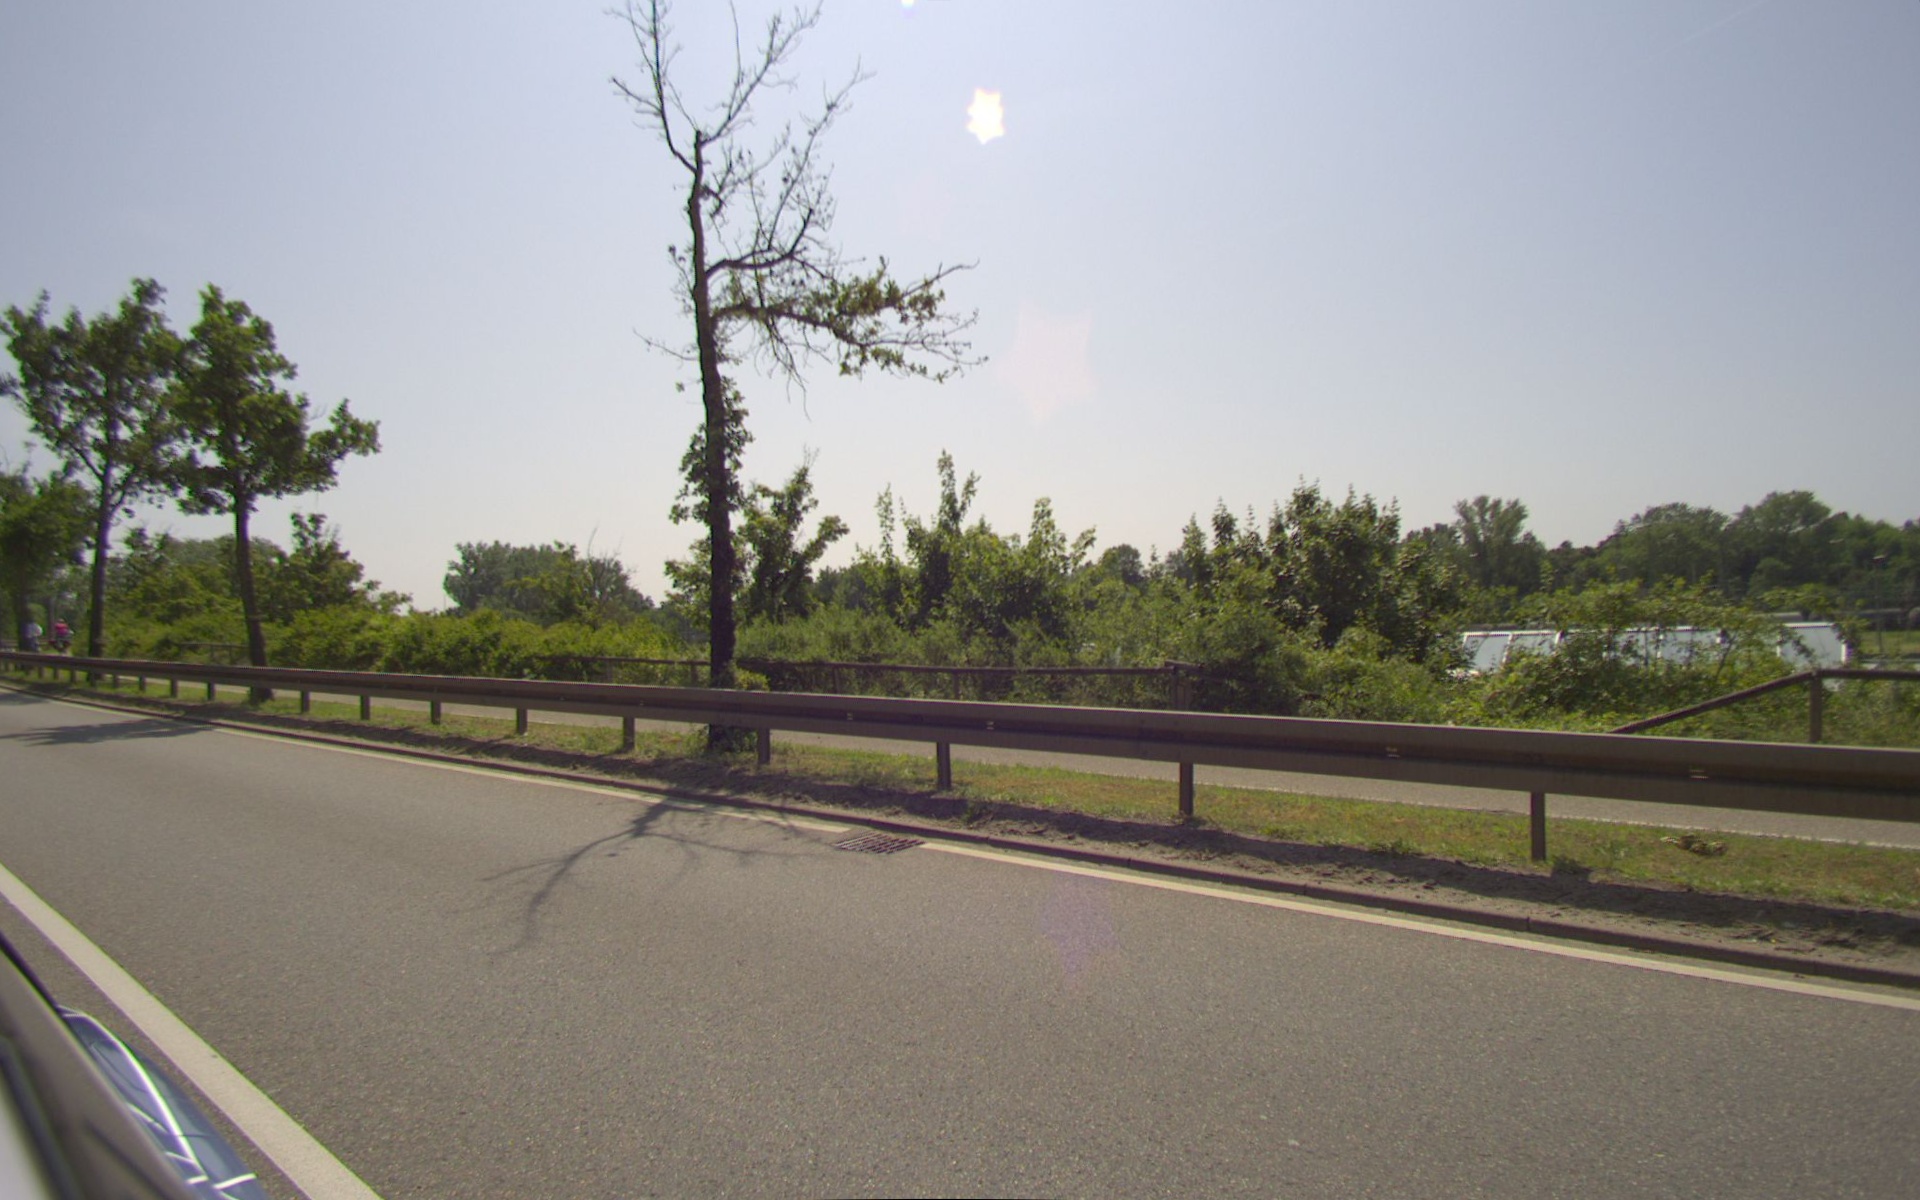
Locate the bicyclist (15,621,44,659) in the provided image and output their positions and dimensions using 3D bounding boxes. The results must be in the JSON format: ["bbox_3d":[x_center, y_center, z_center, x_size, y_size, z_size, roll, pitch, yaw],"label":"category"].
[{"bbox_3d":[-37.213,1.591,40.460,0.824,1.477,0.721,-2,-4,43],"label":"bicyclist"}]

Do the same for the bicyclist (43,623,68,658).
[{"bbox_3d":[-40.148,1.795,44.926,0.732,1.500,0.758,1,-2,-38],"label":"bicyclist"}]

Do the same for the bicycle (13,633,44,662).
[{"bbox_3d":[-37.262,1.902,40.469,2.046,1.125,0.726,-1,-4,43],"label":"bicycle"}]

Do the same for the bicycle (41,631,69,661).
[{"bbox_3d":[-40.023,2.024,44.758,0.724,1.291,2.050,1,-2,-37],"label":"bicycle"}]
